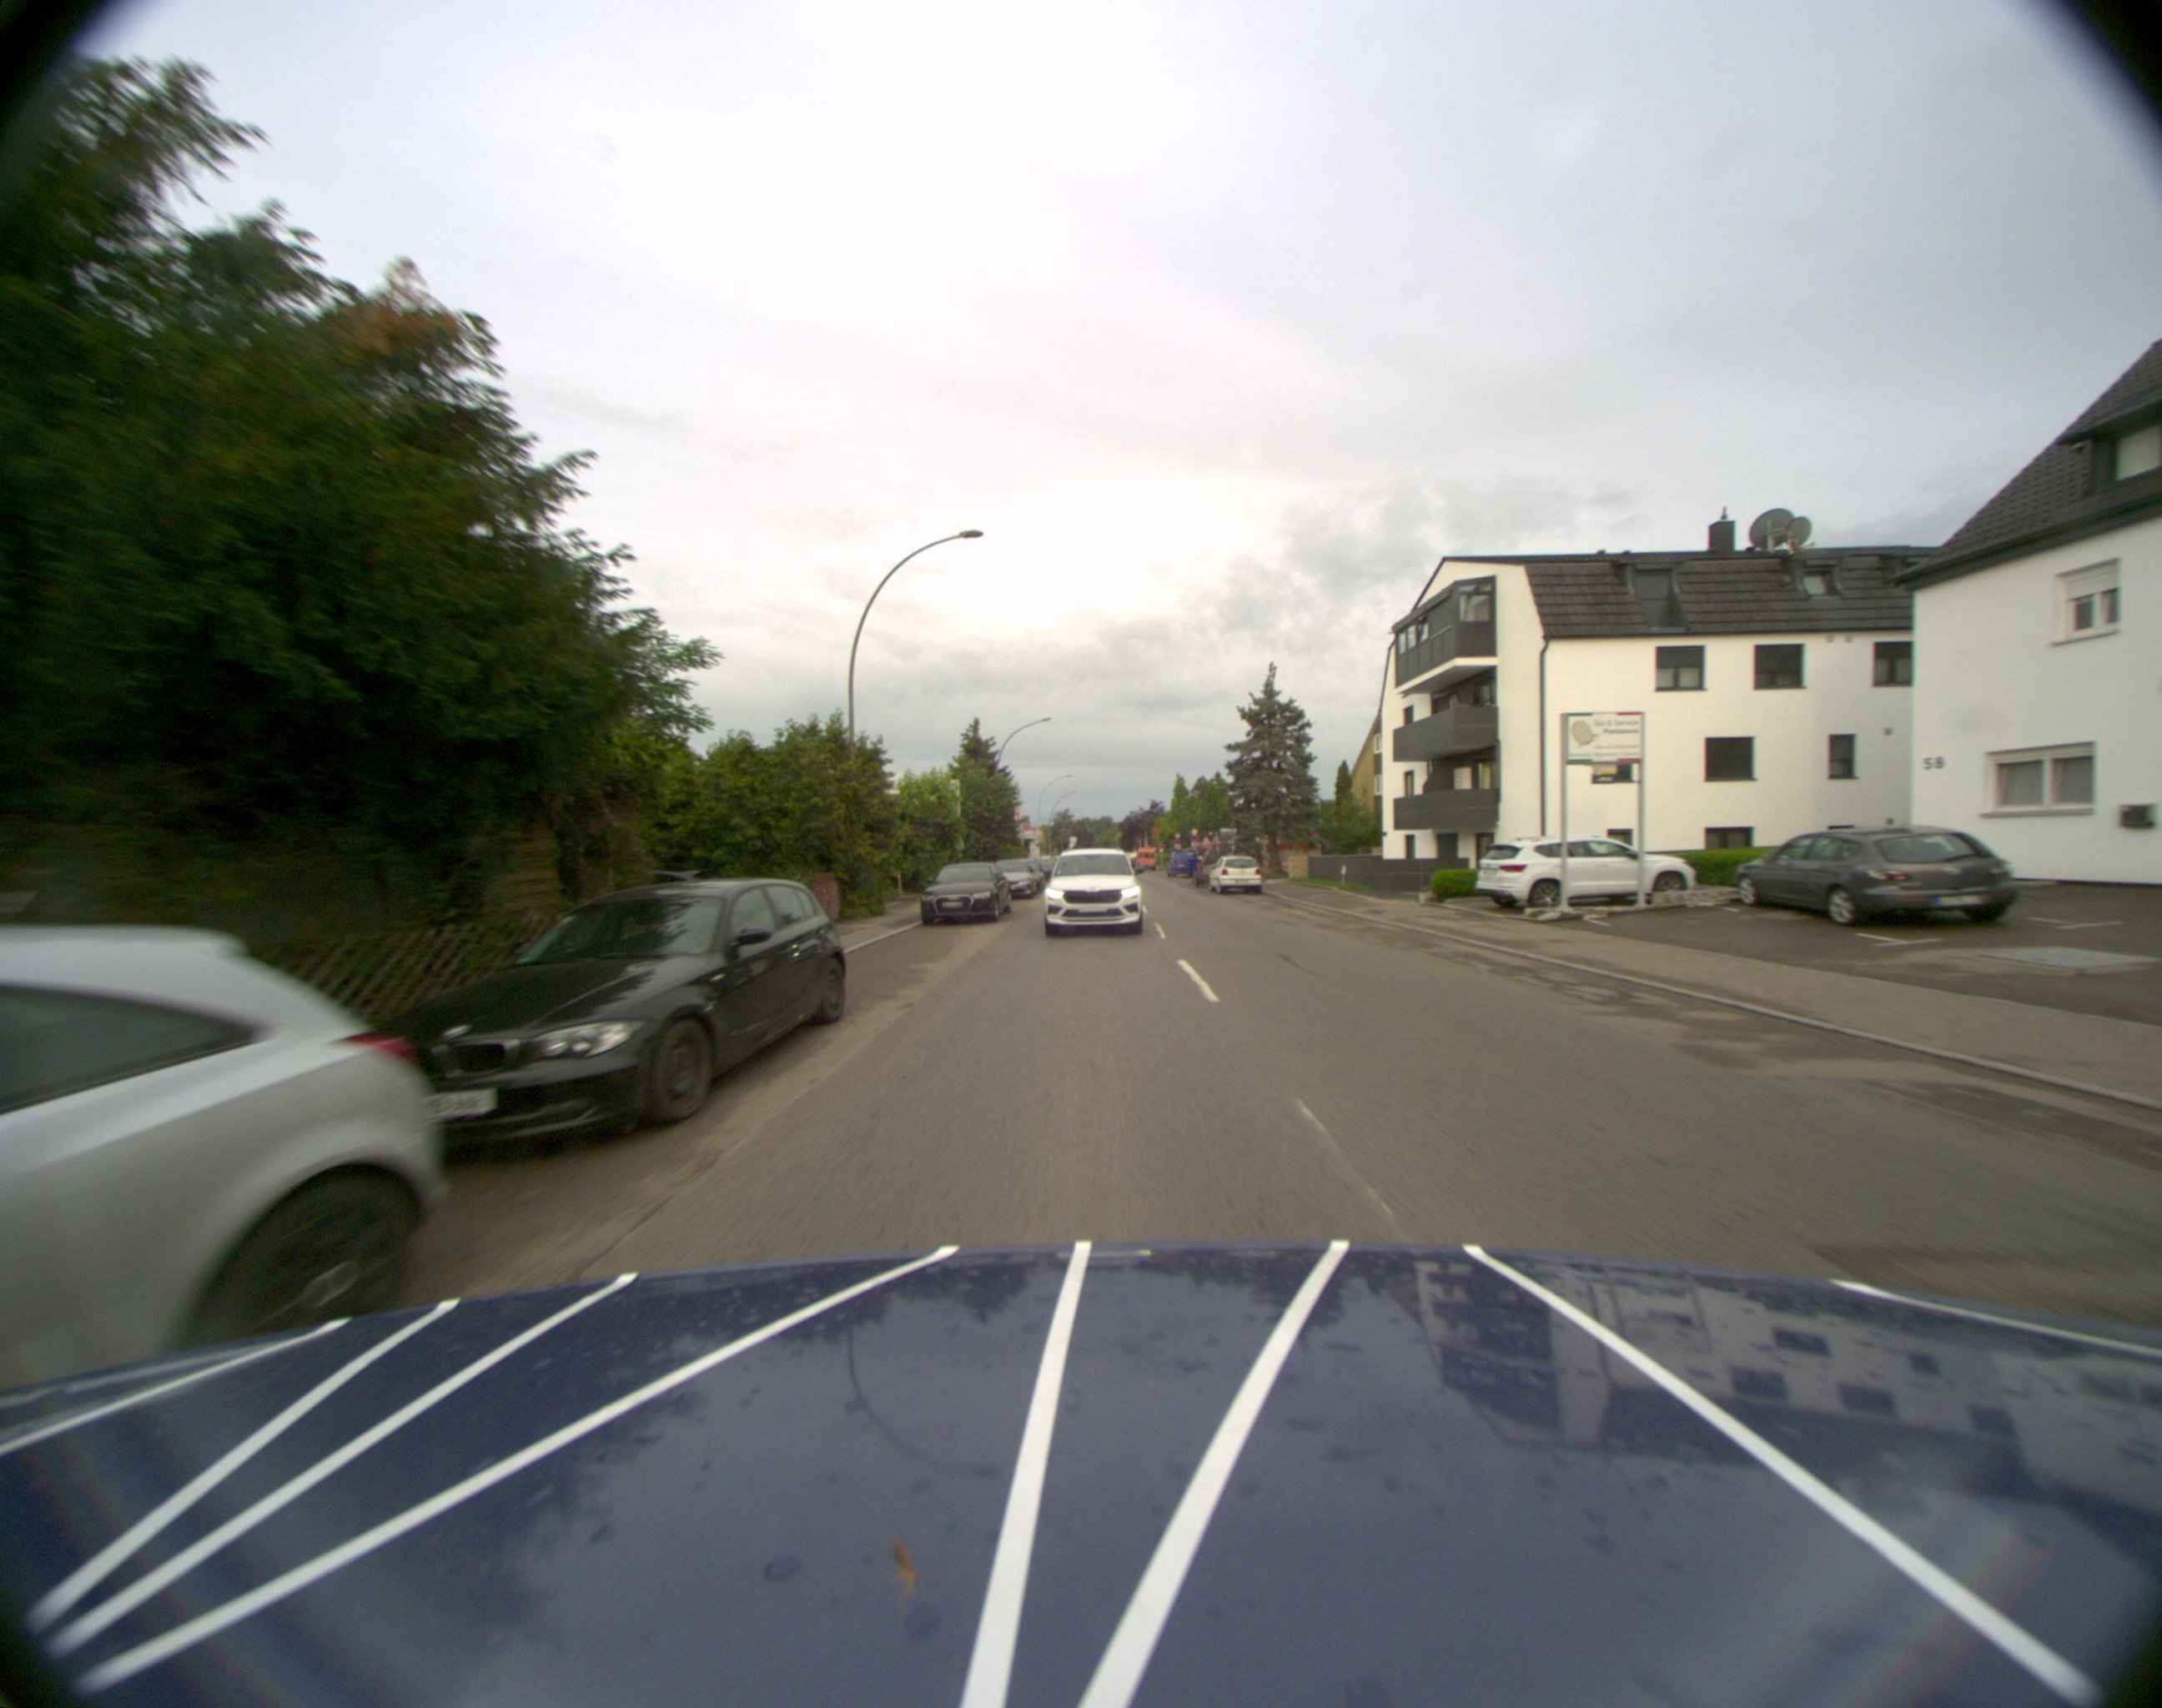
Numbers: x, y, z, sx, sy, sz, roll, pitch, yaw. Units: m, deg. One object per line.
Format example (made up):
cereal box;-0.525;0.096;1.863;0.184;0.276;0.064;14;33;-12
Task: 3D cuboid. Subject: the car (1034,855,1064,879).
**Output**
car;-2.038;0.815;49.390;1.677;1.455;3.690;-3;0;1

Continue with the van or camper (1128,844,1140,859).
van or camper;8.256;-0.340;118.599;1.811;2.328;4.000;-1;0;3

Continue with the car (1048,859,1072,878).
car;-1.640;1.117;59.925;1.677;1.388;3.551;-3;0;1

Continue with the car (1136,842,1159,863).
car;7.624;-0.197;86.987;2.264;2.275;4.531;1;0;1

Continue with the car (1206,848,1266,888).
car;6.241;0.532;30.933;1.740;1.496;3.871;-1;0;2

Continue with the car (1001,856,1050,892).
car;-2.378;0.835;33.394;1.766;1.432;4.483;-1;0;0

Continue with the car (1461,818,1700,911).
car;11.147;0.218;17.184;3.997;1.638;2.000;-5;1;0

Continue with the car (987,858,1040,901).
car;-2.486;0.909;28.666;1.656;1.432;4.043;-1;0;-1

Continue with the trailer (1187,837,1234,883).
trailer;6.358;0.245;37.640;1.721;2.114;4.006;-2;1;1

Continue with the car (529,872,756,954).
car;-9.649;1.271;16.915;3.996;1.421;1.701;-4;0;3

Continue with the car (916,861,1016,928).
car;-2.754;0.930;19.062;1.756;1.410;4.110;-1;0;1

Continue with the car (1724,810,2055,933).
car;12.690;0.182;12.366;1.822;1.521;4.003;-6;1;16

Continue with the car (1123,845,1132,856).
car;9.374;-0.762;153.498;1.659;2.221;3.744;-2;1;1

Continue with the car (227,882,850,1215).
car;-3.198;1.019;5.545;1.742;1.395;3.718;-3;0;1

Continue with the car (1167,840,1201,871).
car;7.509;0.082;55.655;1.998;2.112;4.755;-1;0;2

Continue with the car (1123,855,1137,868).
car;6.897;1.050;107.252;1.811;1.761;4.000;-1;0;3

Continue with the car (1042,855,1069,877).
car;-1.807;0.863;54.908;1.677;1.455;3.551;-3;0;1

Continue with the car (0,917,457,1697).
car;-3.151;1.017;0.698;1.741;1.493;3.882;-3;0;3

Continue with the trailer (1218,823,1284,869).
trailer;11.791;-0.579;52.877;4.059;3.029;2.168;-2;1;2

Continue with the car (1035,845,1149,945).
car;0.247;0.673;15.021;1.884;1.650;4.831;-1;0;1
